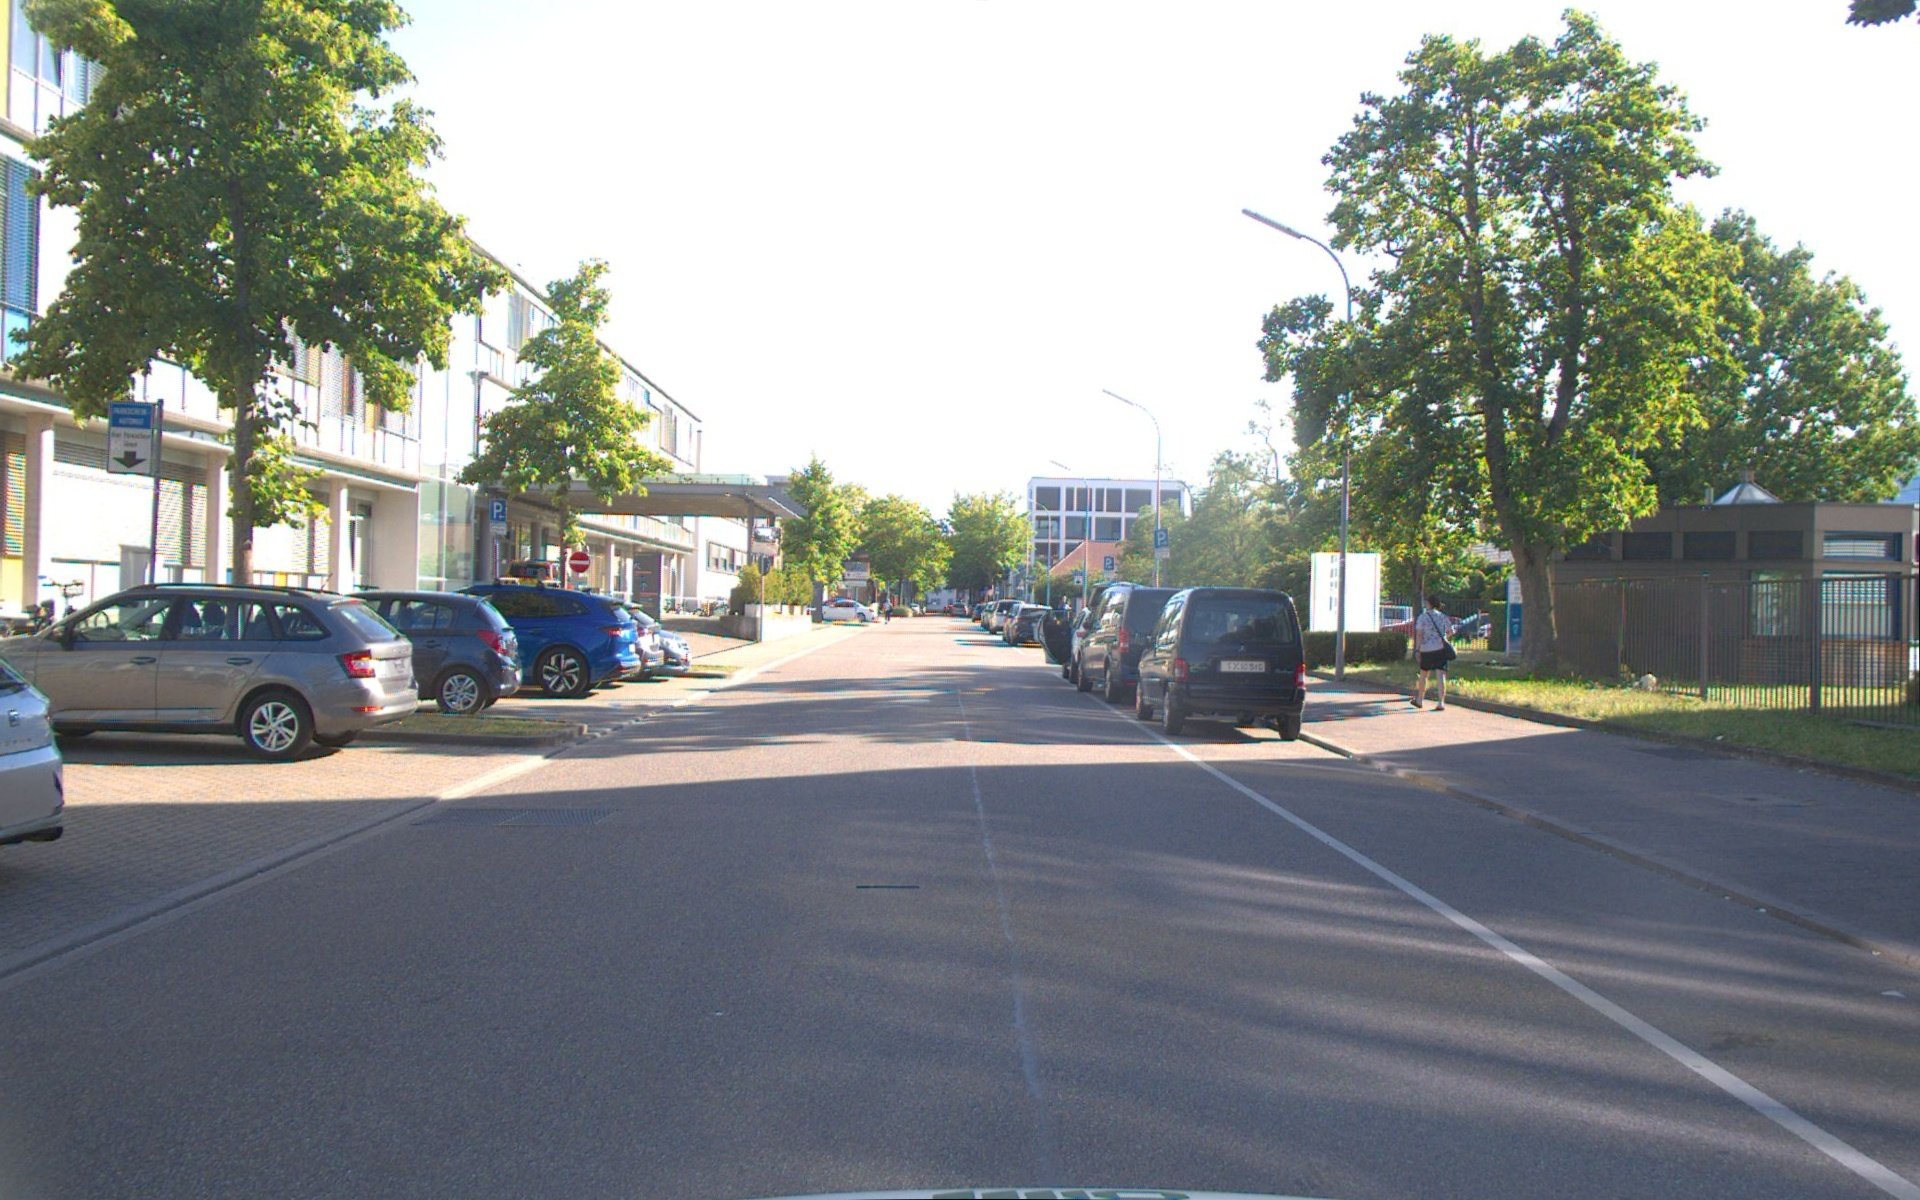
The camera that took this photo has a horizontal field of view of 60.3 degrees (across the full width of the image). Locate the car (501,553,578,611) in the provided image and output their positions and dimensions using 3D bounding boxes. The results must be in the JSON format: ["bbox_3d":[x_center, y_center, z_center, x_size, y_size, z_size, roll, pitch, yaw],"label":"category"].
[{"bbox_3d":[-16.150,-0.677,63.726,1.953,2.049,3.999,1,-1,-1],"label":"car"}]

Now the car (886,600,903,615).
[{"bbox_3d":[-6.915,0.813,175.115,1.692,1.563,3.998,1,0,-2],"label":"car"}]

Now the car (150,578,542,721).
[{"bbox_3d":[-7.483,0.595,20.512,4.131,1.512,1.870,3,0,-5],"label":"car"}]

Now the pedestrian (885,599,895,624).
[{"bbox_3d":[-4.606,0.765,108.846,0.606,1.652,0.716,0,0,-1],"label":"pedestrian"}]

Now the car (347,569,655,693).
[{"bbox_3d":[-6.865,0.456,25.113,4.131,1.631,1.870,3,0,-5],"label":"car"}]

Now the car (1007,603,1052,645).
[{"bbox_3d":[2.539,0.856,60.916,1.466,1.505,3.649,0,0,-1],"label":"car"}]

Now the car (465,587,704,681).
[{"bbox_3d":[-6.743,0.588,30.058,3.908,1.579,1.999,1,0,-4],"label":"car"}]

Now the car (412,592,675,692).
[{"bbox_3d":[-6.848,0.686,27.547,3.908,1.579,1.999,0,0,-4],"label":"car"}]

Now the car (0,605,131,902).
[{"bbox_3d":[-6.532,0.659,8.181,3.909,1.382,1.741,3,0,-5],"label":"car"}]

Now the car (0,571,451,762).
[{"bbox_3d":[-7.012,0.562,15.106,4.131,1.487,1.870,3,0,-5],"label":"car"}]

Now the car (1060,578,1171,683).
[{"bbox_3d":[3.111,0.587,33.852,1.836,2.013,3.999,0,0,-1],"label":"car"}]

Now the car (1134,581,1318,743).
[{"bbox_3d":[3.324,0.732,21.367,1.697,1.862,3.905,1,0,0],"label":"car"}]

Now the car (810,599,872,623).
[{"bbox_3d":[-7.804,0.724,108.714,3.905,1.545,2.000,0,0,-1],"label":"car"}]

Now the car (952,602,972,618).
[{"bbox_3d":[0.185,1.024,172.320,1.707,1.570,4.002,2,0,5],"label":"car"}]

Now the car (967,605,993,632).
[{"bbox_3d":[1.602,1.533,134.123,1.953,2.049,3.999,1,-1,-1],"label":"car"}]

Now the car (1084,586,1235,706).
[{"bbox_3d":[3.238,0.710,27.607,1.953,1.855,4.197,0,0,-1],"label":"car"}]

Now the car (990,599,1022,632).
[{"bbox_3d":[2.269,0.770,82.469,1.407,1.588,3.041,1,0,-1],"label":"car"}]

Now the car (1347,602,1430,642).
[{"bbox_3d":[23.291,1.210,89.967,3.907,2.049,1.999,1,-1,-3],"label":"car"}]

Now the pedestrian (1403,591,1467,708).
[{"bbox_3d":[7.053,0.725,24.569,0.684,1.690,0.751,-2,0,-1],"label":"pedestrian"}]

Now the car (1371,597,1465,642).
[{"bbox_3d":[22.177,0.952,80.143,3.909,2.049,1.997,1,-2,-6],"label":"car"}]
